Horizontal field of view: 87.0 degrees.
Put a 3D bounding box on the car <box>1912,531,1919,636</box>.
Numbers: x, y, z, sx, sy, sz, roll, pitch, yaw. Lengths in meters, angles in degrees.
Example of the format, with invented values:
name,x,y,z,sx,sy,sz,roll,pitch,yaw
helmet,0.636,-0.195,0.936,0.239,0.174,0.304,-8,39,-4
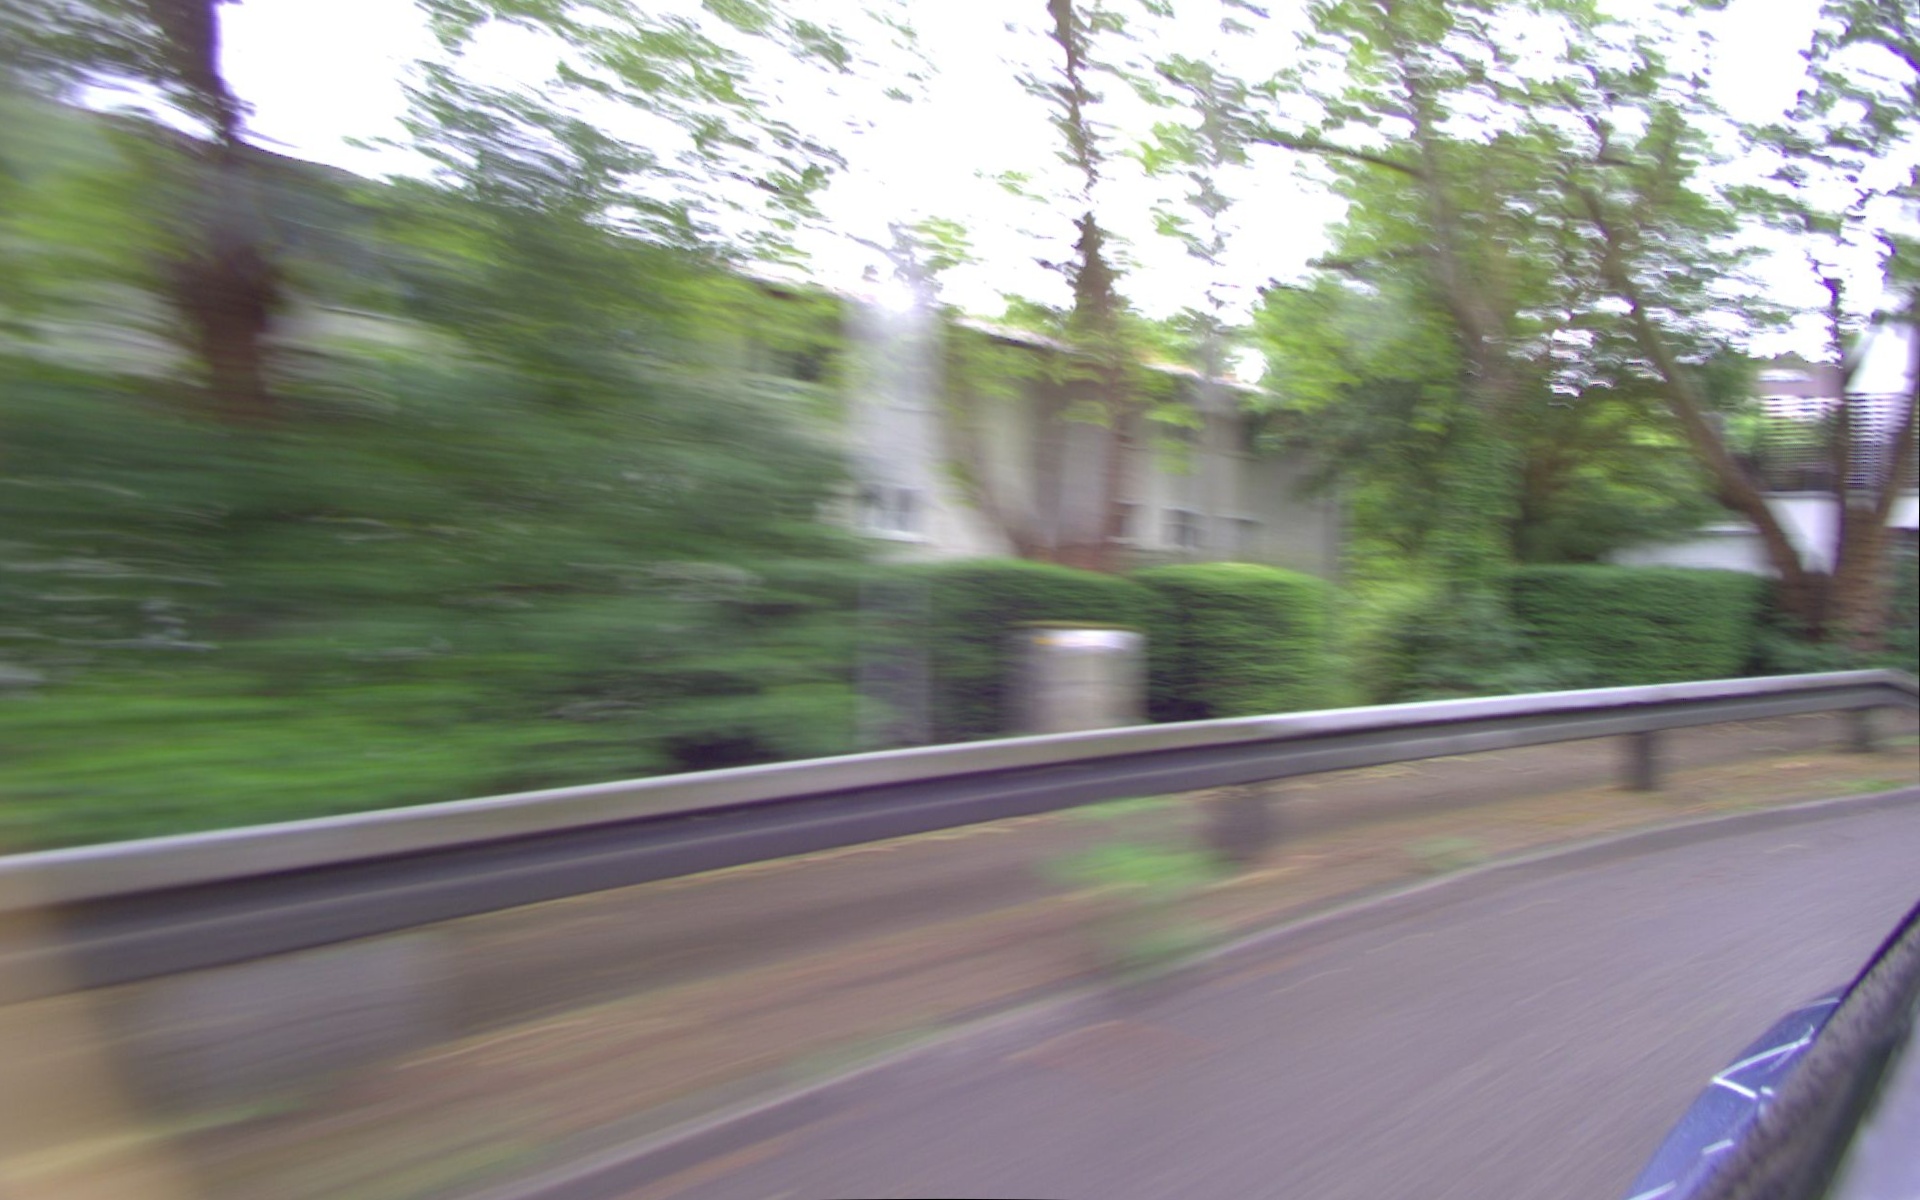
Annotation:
name,x,y,z,sx,sy,sz,roll,pitch,yaw
car,17.327,0.009,16.076,1.981,1.862,4.378,-1,8,27
